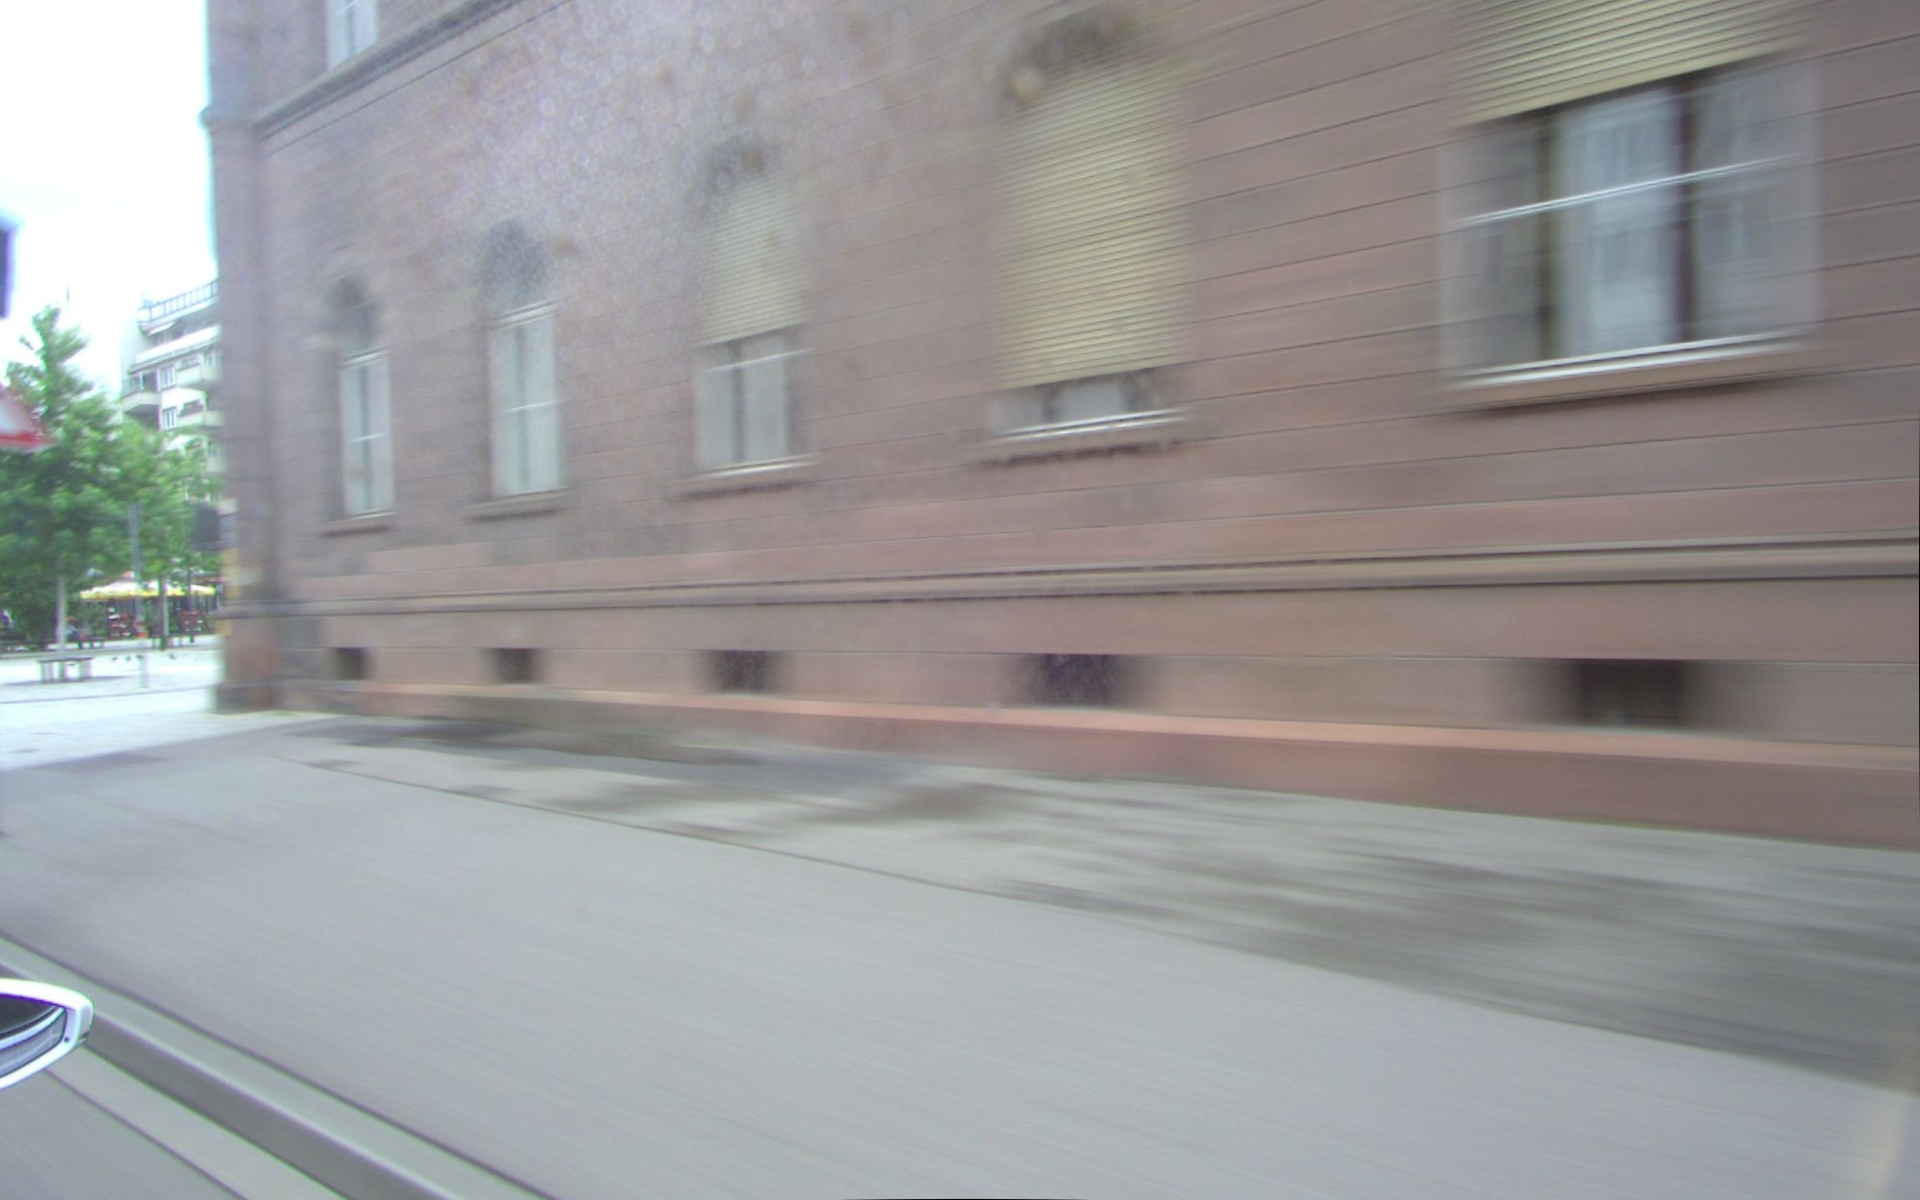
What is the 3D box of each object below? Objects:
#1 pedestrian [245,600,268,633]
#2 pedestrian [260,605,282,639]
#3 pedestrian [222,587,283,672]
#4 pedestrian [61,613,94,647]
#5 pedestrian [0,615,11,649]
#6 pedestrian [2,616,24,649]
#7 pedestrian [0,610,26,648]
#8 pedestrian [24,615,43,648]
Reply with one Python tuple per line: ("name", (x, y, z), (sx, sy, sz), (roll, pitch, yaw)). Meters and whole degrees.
("pedestrian", (-38.670, 0.910, 55.029), (0.762, 1.776, 0.715), (-3, 3, -20))
("pedestrian", (-38.758, 1.249, 56.338), (0.762, 1.910, 0.850), (-1, 0, -20))
("pedestrian", (-16.675, 0.687, 23.603), (0.761, 1.927, 0.867), (0, 2, 30))
("pedestrian", (-36.732, 1.261, 41.676), (1.389, 1.384, 0.627), (-1, 0, 31))
("pedestrian", (-40.258, 1.345, 41.794), (0.675, 1.384, 0.629), (-1, 0, 13))
("pedestrian", (-40.176, 1.381, 42.499), (0.623, 1.384, 0.911), (-1, 0, -41))
("pedestrian", (-46.936, 1.446, 49.528), (1.062, 1.827, 0.711), (-2, 3, 31))
("pedestrian", (-40.074, 1.373, 43.335), (0.538, 1.384, 1.269), (-1, 0, -40))
